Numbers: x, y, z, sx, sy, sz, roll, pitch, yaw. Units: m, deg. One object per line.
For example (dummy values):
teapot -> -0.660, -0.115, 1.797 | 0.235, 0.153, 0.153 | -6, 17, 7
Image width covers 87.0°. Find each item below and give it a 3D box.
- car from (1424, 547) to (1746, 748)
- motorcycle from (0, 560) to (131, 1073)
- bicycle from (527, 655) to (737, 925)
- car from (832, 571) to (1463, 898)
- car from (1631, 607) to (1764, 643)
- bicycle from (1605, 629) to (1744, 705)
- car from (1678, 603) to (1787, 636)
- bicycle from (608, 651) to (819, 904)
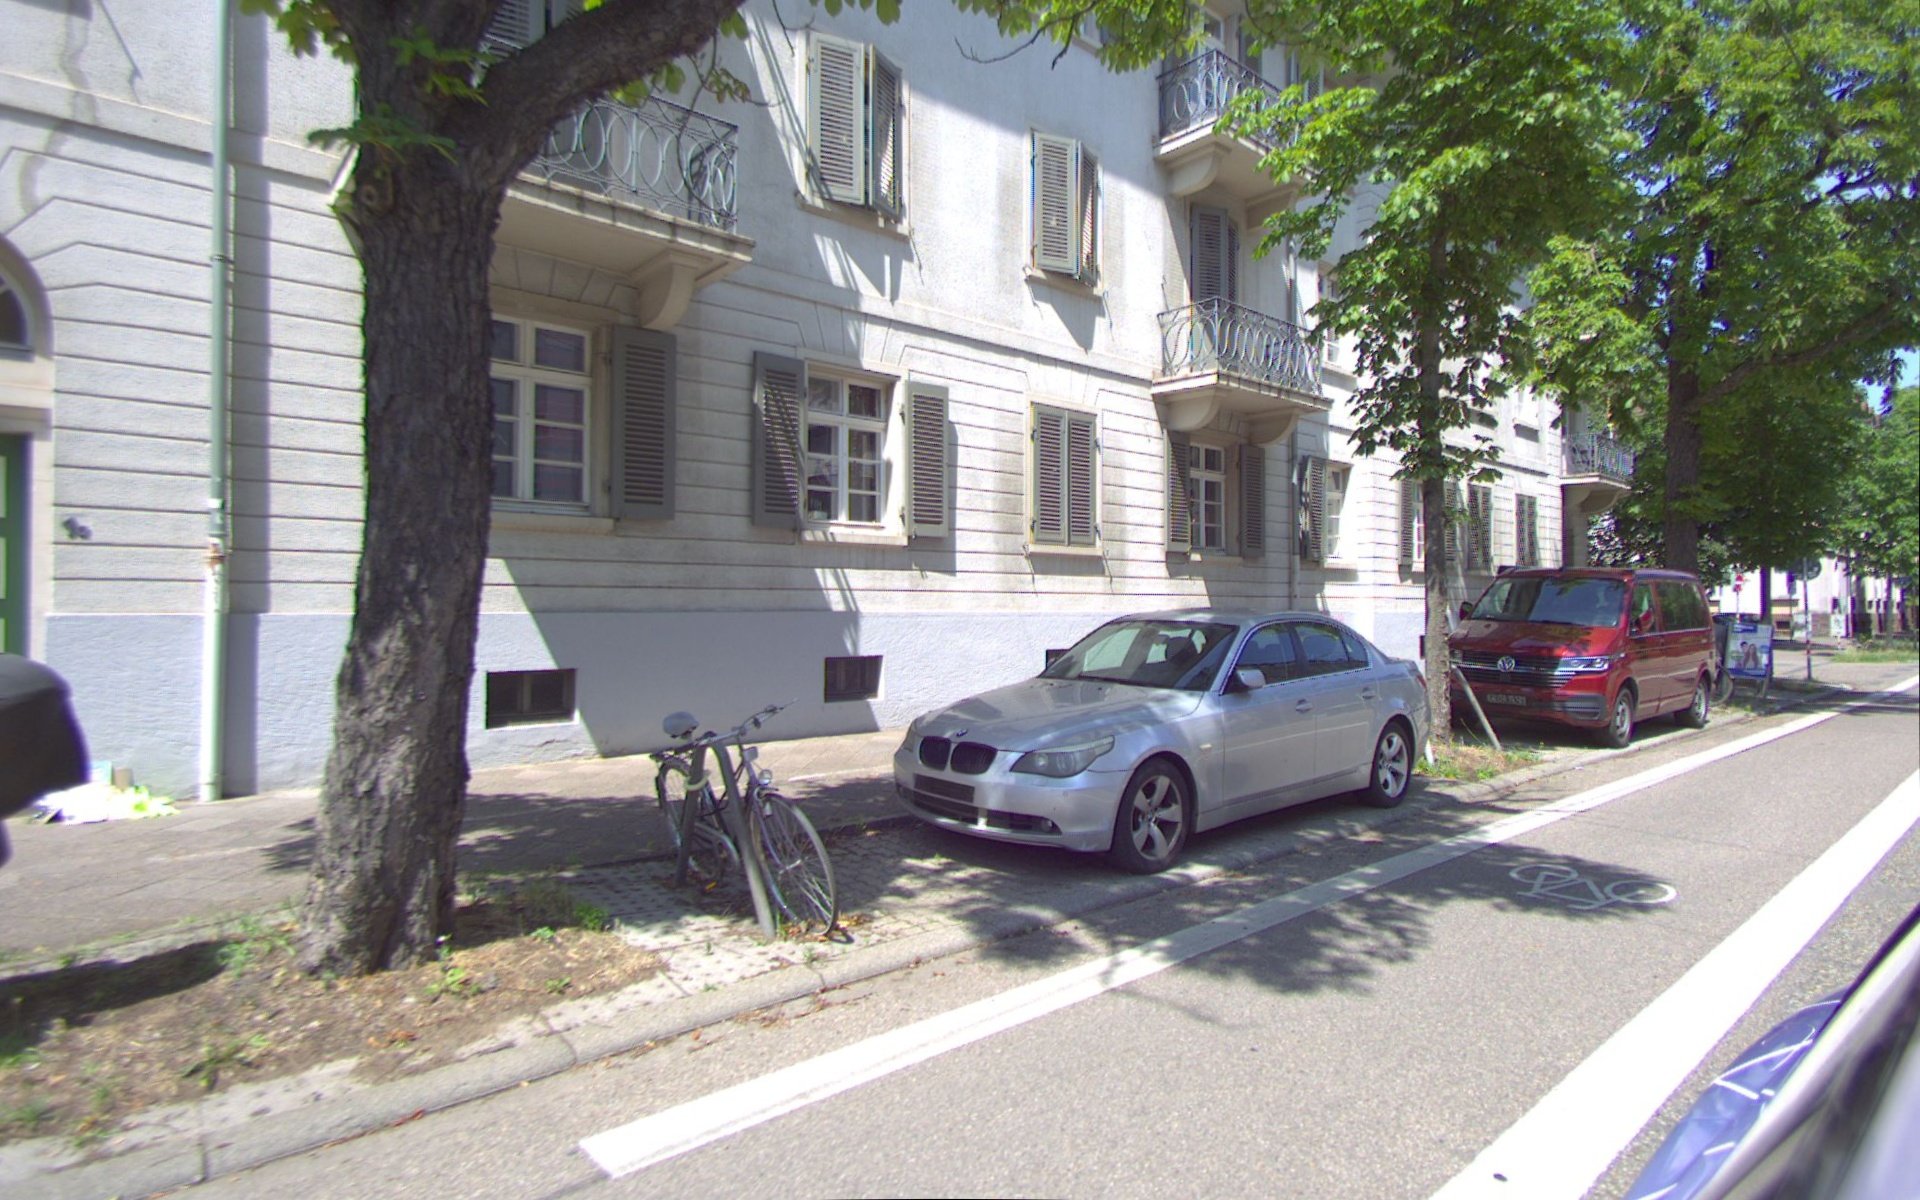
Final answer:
car -> 7.859, 0.494, 12.521 | 4.885, 2.039, 1.864 | 0, -1, -39
motorcycle -> -3.987, 0.637, 2.800 | 2.507, 1.525, 0.748 | 0, -1, -30
bicycle -> -1.644, 0.819, 4.905 | 0.365, 1.028, 1.661 | -2, 0, -39
car -> 1.602, 0.669, 7.242 | 4.791, 1.597, 1.863 | 0, -1, -41
car -> 32.583, 1.112, 44.886 | 1.837, 1.535, 4.683 | 0, -2, -12
bicycle -> 10.773, 0.991, 15.304 | 1.696, 1.034, 0.359 | 1, 0, 44
car -> 37.106, 0.923, 48.727 | 1.611, 1.465, 3.891 | -1, 0, -18
bicycle -> -1.309, 0.808, 5.158 | 0.365, 1.028, 1.661 | 1, -1, -39
